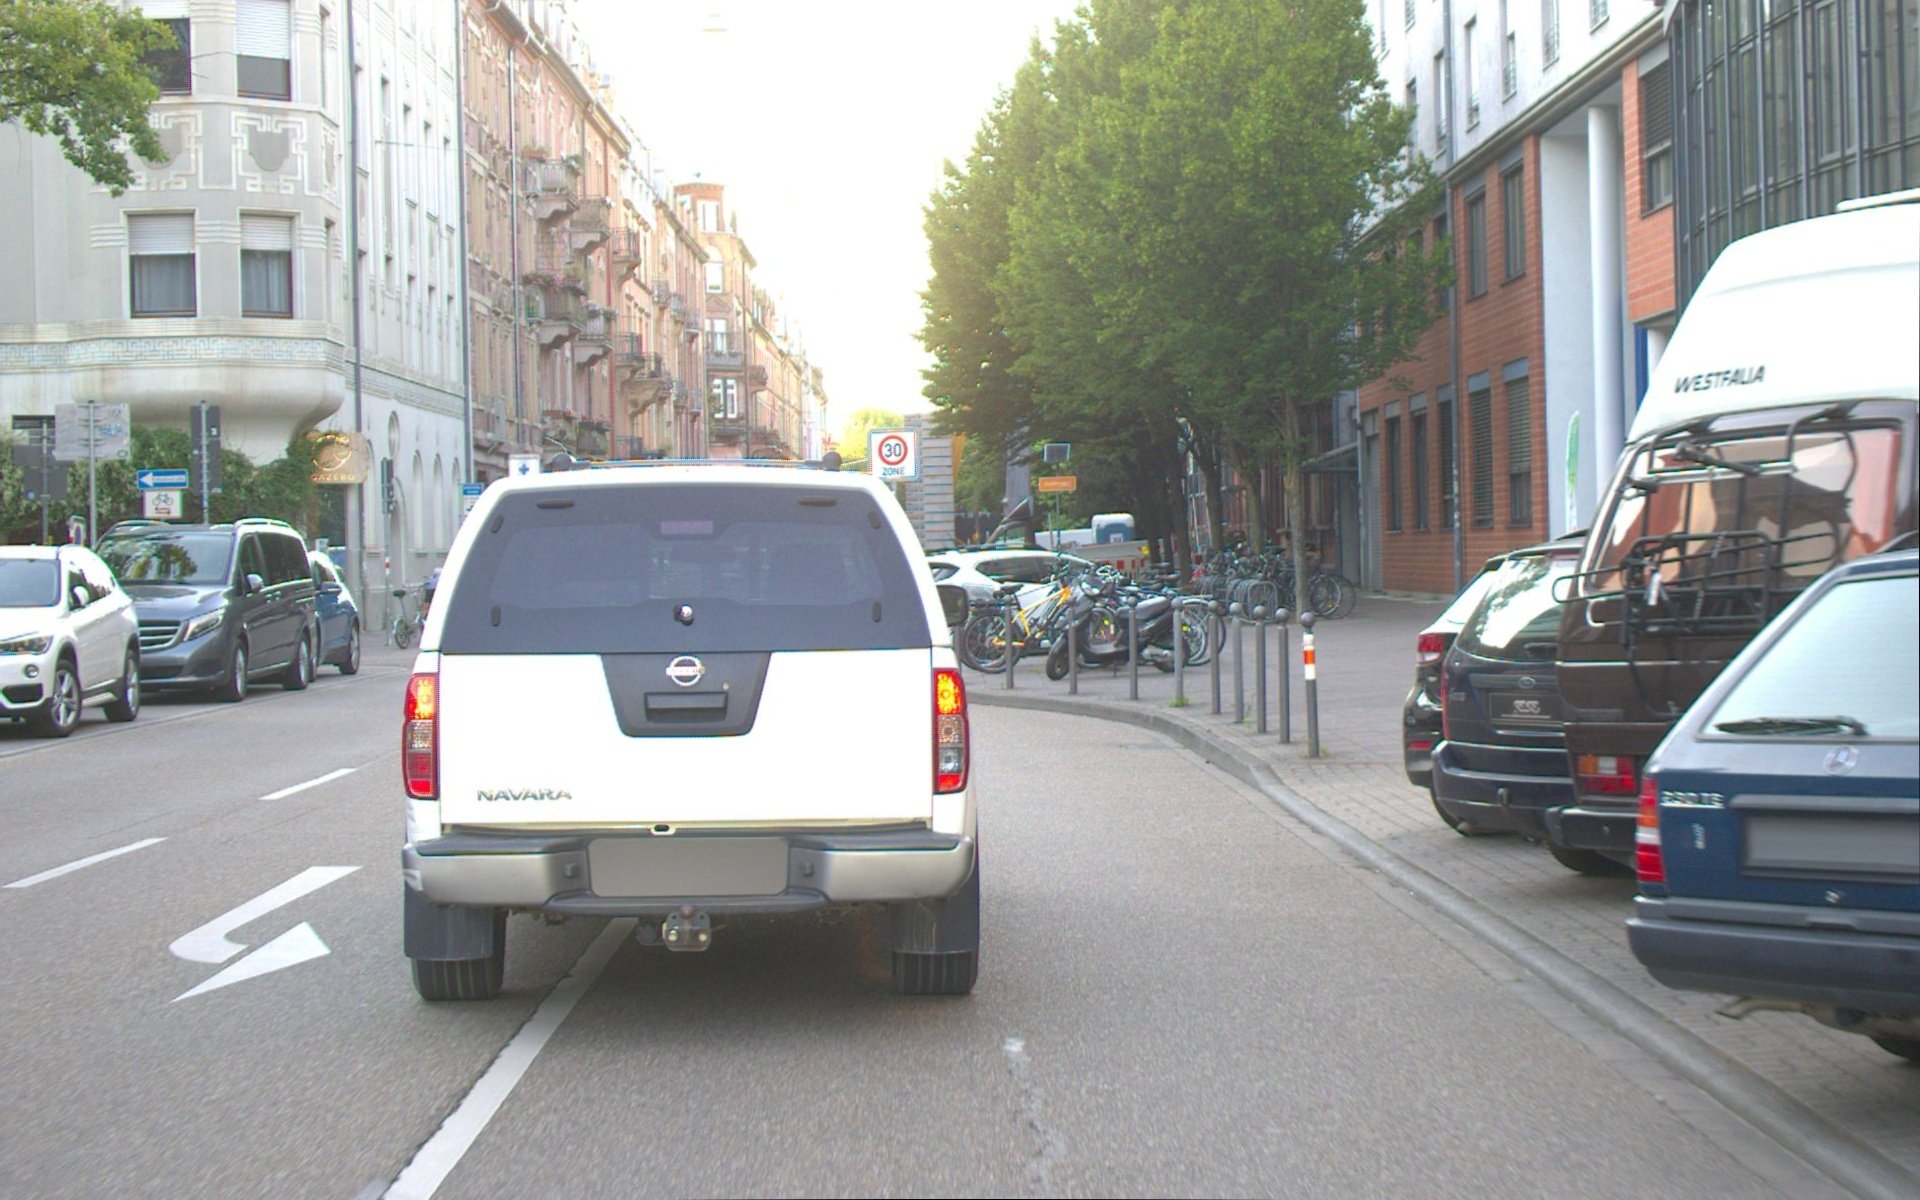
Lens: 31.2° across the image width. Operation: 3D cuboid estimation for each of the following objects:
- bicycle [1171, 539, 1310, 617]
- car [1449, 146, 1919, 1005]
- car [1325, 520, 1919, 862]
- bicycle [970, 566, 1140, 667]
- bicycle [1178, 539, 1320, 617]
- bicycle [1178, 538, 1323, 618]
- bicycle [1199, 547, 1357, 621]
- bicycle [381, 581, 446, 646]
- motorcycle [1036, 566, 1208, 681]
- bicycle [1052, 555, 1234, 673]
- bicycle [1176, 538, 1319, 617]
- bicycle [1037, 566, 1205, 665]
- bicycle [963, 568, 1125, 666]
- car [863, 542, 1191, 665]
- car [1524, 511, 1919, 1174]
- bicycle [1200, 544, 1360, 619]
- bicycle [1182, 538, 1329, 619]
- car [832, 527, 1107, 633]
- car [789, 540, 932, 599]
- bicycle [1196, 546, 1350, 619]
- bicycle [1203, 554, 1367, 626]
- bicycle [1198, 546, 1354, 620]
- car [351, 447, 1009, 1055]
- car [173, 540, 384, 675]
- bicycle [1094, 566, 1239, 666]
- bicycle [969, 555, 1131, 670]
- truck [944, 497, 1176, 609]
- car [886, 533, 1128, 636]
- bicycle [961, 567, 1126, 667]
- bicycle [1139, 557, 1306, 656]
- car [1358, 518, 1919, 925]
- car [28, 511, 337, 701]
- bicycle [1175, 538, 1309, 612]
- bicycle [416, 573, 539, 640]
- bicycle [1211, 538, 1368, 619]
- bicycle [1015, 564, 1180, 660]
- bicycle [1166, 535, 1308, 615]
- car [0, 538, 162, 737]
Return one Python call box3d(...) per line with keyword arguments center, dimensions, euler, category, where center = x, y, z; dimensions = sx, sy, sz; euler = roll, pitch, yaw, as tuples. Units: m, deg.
box3d(center=(5.193, -0.407, 63.734), dimensions=(2.534, 1.375, 0.599), euler=(-1, 1, 2), category="bicycle")
box3d(center=(4.233, -0.119, 12.148), dimensions=(4.710, 2.538, 1.918), euler=(-1, 0, -29), category="car")
box3d(center=(3.974, 0.366, 17.058), dimensions=(4.056, 1.487, 1.724), euler=(-2, 1, -31), category="car")
box3d(center=(1.072, 0.182, 39.033), dimensions=(1.857, 1.035, 0.472), euler=(-3, 1, -1), category="bicycle")
box3d(center=(5.290, -0.402, 63.051), dimensions=(2.534, 1.375, 0.599), euler=(-1, 1, 2), category="bicycle")
box3d(center=(5.187, -0.399, 61.538), dimensions=(2.534, 1.375, 0.599), euler=(-1, 1, 2), category="bicycle")
box3d(center=(5.221, -0.271, 56.547), dimensions=(2.534, 1.162, 0.562), euler=(-1, 1, 2), category="bicycle")
box3d(center=(-9.018, 0.215, 56.748), dimensions=(0.423, 1.009, 1.717), euler=(0, 2, 13), category="bicycle")
box3d(center=(1.696, 0.241, 36.063), dimensions=(1.644, 1.098, 0.647), euler=(-4, 1, -9), category="motorcycle")
box3d(center=(1.984, 0.150, 37.445), dimensions=(1.859, 1.142, 0.659), euler=(-4, 1, 0), category="bicycle")
box3d(center=(5.189, -0.414, 62.197), dimensions=(2.534, 1.375, 0.599), euler=(-1, 1, 2), category="bicycle")
box3d(center=(1.850, 0.176, 39.615), dimensions=(1.857, 1.035, 0.402), euler=(-3, 1, -1), category="bicycle")
box3d(center=(0.991, 0.197, 40.817), dimensions=(1.857, 1.062, 0.446), euler=(-3, 1, -1), category="bicycle")
box3d(center=(0.896, 0.022, 45.777), dimensions=(3.987, 1.501, 1.770), euler=(-2, 1, -29), category="car")
box3d(center=(3.855, 0.430, 9.227), dimensions=(4.385, 1.481, 1.844), euler=(-4, 2, -30), category="car")
box3d(center=(5.199, -0.301, 55.936), dimensions=(2.534, 1.162, 0.562), euler=(-1, 1, 2), category="bicycle")
box3d(center=(5.217, -0.390, 60.823), dimensions=(2.534, 1.375, 0.599), euler=(-1, 1, 2), category="bicycle")
box3d(center=(0.158, -0.335, 53.650), dimensions=(3.987, 1.532, 1.636), euler=(-2, 1, -31), category="car")
box3d(center=(-3.044, -0.942, 105.656), dimensions=(4.196, 1.774, 1.819), euler=(0, 1, 6), category="car")
box3d(center=(5.261, -0.301, 57.819), dimensions=(2.534, 1.162, 0.562), euler=(-1, 1, 2), category="bicycle")
box3d(center=(5.223, -0.162, 55.315), dimensions=(2.534, 0.956, 0.680), euler=(-4, 1, 3), category="bicycle")
box3d(center=(5.250, -0.288, 57.208), dimensions=(2.534, 1.162, 0.562), euler=(-1, 1, 2), category="bicycle")
box3d(center=(-0.863, 0.423, 12.473), dimensions=(1.933, 1.788, 4.622), euler=(0, 1, -1), category="car")
box3d(center=(-8.258, 0.052, 41.967), dimensions=(1.640, 1.550, 4.004), euler=(-1, 1, 2), category="car")
box3d(center=(2.309, 0.176, 38.541), dimensions=(1.539, 1.035, 0.472), euler=(-3, 1, -1), category="bicycle")
box3d(center=(0.989, 0.134, 38.022), dimensions=(1.707, 1.172, 0.472), euler=(-3, 1, -1), category="bicycle")
box3d(center=(2.762, -1.281, 95.316), dimensions=(6.320, 2.966, 2.264), euler=(0, -2, 1), category="truck")
box3d(center=(0.775, -0.272, 56.367), dimensions=(3.594, 1.575, 1.716), euler=(-2, 1, -33), category="car")
box3d(center=(0.968, 0.191, 40.043), dimensions=(1.857, 1.062, 0.446), euler=(-3, 1, -1), category="bicycle")
box3d(center=(3.075, 0.068, 40.387), dimensions=(1.857, 1.062, 0.524), euler=(-3, 1, -1), category="bicycle")
box3d(center=(4.059, 0.405, 14.678), dimensions=(4.342, 1.497, 1.913), euler=(-2, 1, -28), category="car")
box3d(center=(-8.212, 0.014, 36.835), dimensions=(1.993, 1.860, 5.289), euler=(-1, 1, 1), category="car")
box3d(center=(5.431, -0.487, 66.365), dimensions=(2.534, 1.375, 0.599), euler=(-1, 1, 2), category="bicycle")
box3d(center=(-8.126, 0.100, 57.875), dimensions=(2.113, 1.091, 0.500), euler=(0, 2, 25), category="bicycle")
box3d(center=(5.173, -0.337, 54.106), dimensions=(2.346, 1.095, 0.680), euler=(-4, 1, 3), category="bicycle")
box3d(center=(1.659, 0.141, 41.518), dimensions=(1.911, 1.062, 0.524), euler=(-3, 1, -1), category="bicycle")
box3d(center=(5.244, -0.471, 65.132), dimensions=(2.535, 1.240, 0.599), euler=(-6, 0, 3), category="bicycle")
box3d(center=(-8.303, 0.283, 29.716), dimensions=(1.871, 1.586, 4.469), euler=(-1, 1, -2), category="car")
